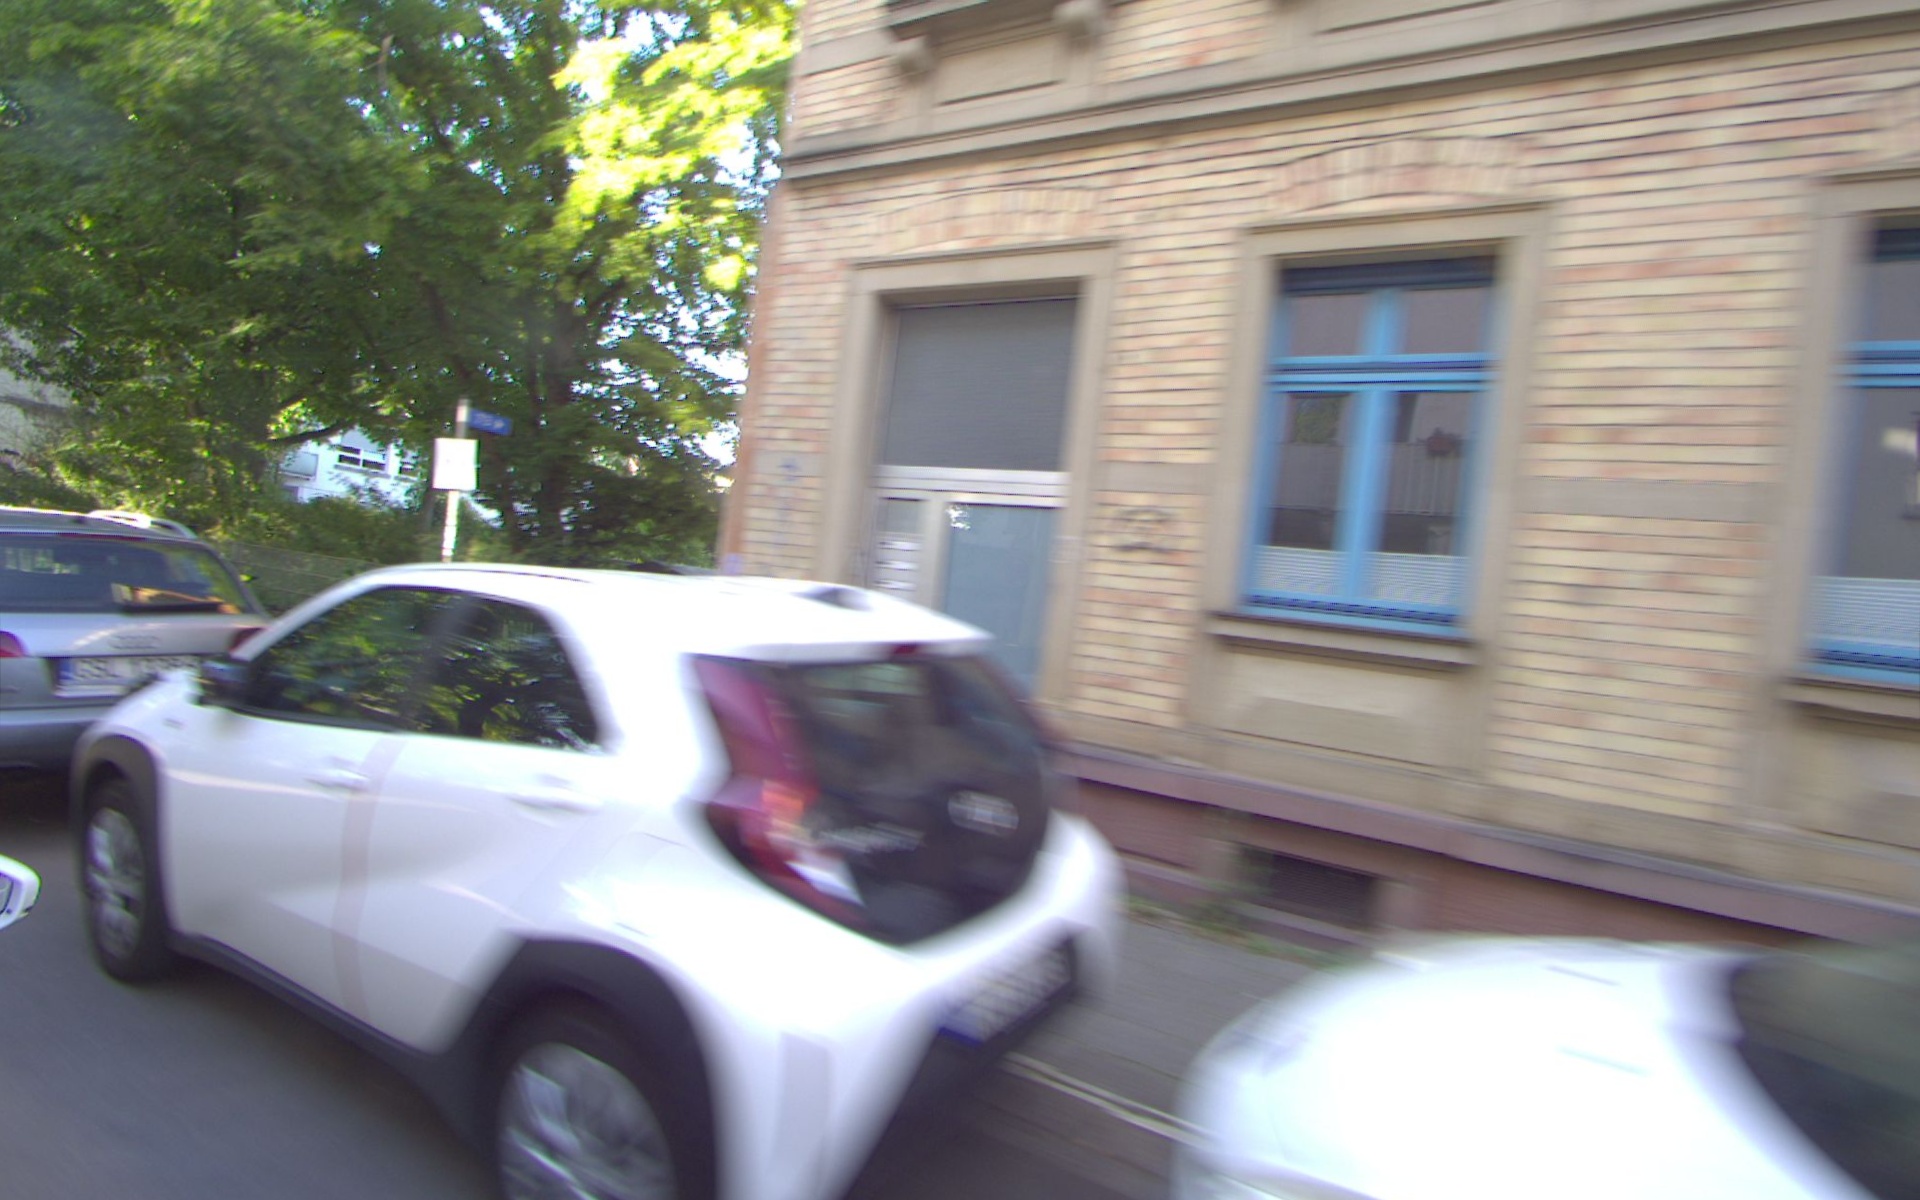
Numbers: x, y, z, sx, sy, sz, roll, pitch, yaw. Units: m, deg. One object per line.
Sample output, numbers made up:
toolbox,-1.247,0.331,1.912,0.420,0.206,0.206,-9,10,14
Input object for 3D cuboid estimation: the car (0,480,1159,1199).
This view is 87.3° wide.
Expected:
car,-1.456,0.605,3.356,3.701,1.604,1.596,7,0,31

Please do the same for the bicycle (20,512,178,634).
bicycle,-10.348,-0.333,12.074,1.949,1.216,0.847,7,1,33

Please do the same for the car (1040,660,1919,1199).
car,2.201,1.062,1.171,3.935,1.470,1.594,6,2,29

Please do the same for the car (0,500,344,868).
car,-5.512,0.187,5.629,4.281,1.512,1.661,7,0,32

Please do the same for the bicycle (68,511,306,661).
bicycle,-8.184,-0.158,10.636,2.289,1.319,1.290,7,2,34

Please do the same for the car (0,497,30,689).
car,-9.768,-0.305,8.315,4.338,1.512,1.723,7,0,29

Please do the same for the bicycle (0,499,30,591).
bicycle,-14.878,-0.932,14.963,2.648,1.283,0.847,7,1,33
